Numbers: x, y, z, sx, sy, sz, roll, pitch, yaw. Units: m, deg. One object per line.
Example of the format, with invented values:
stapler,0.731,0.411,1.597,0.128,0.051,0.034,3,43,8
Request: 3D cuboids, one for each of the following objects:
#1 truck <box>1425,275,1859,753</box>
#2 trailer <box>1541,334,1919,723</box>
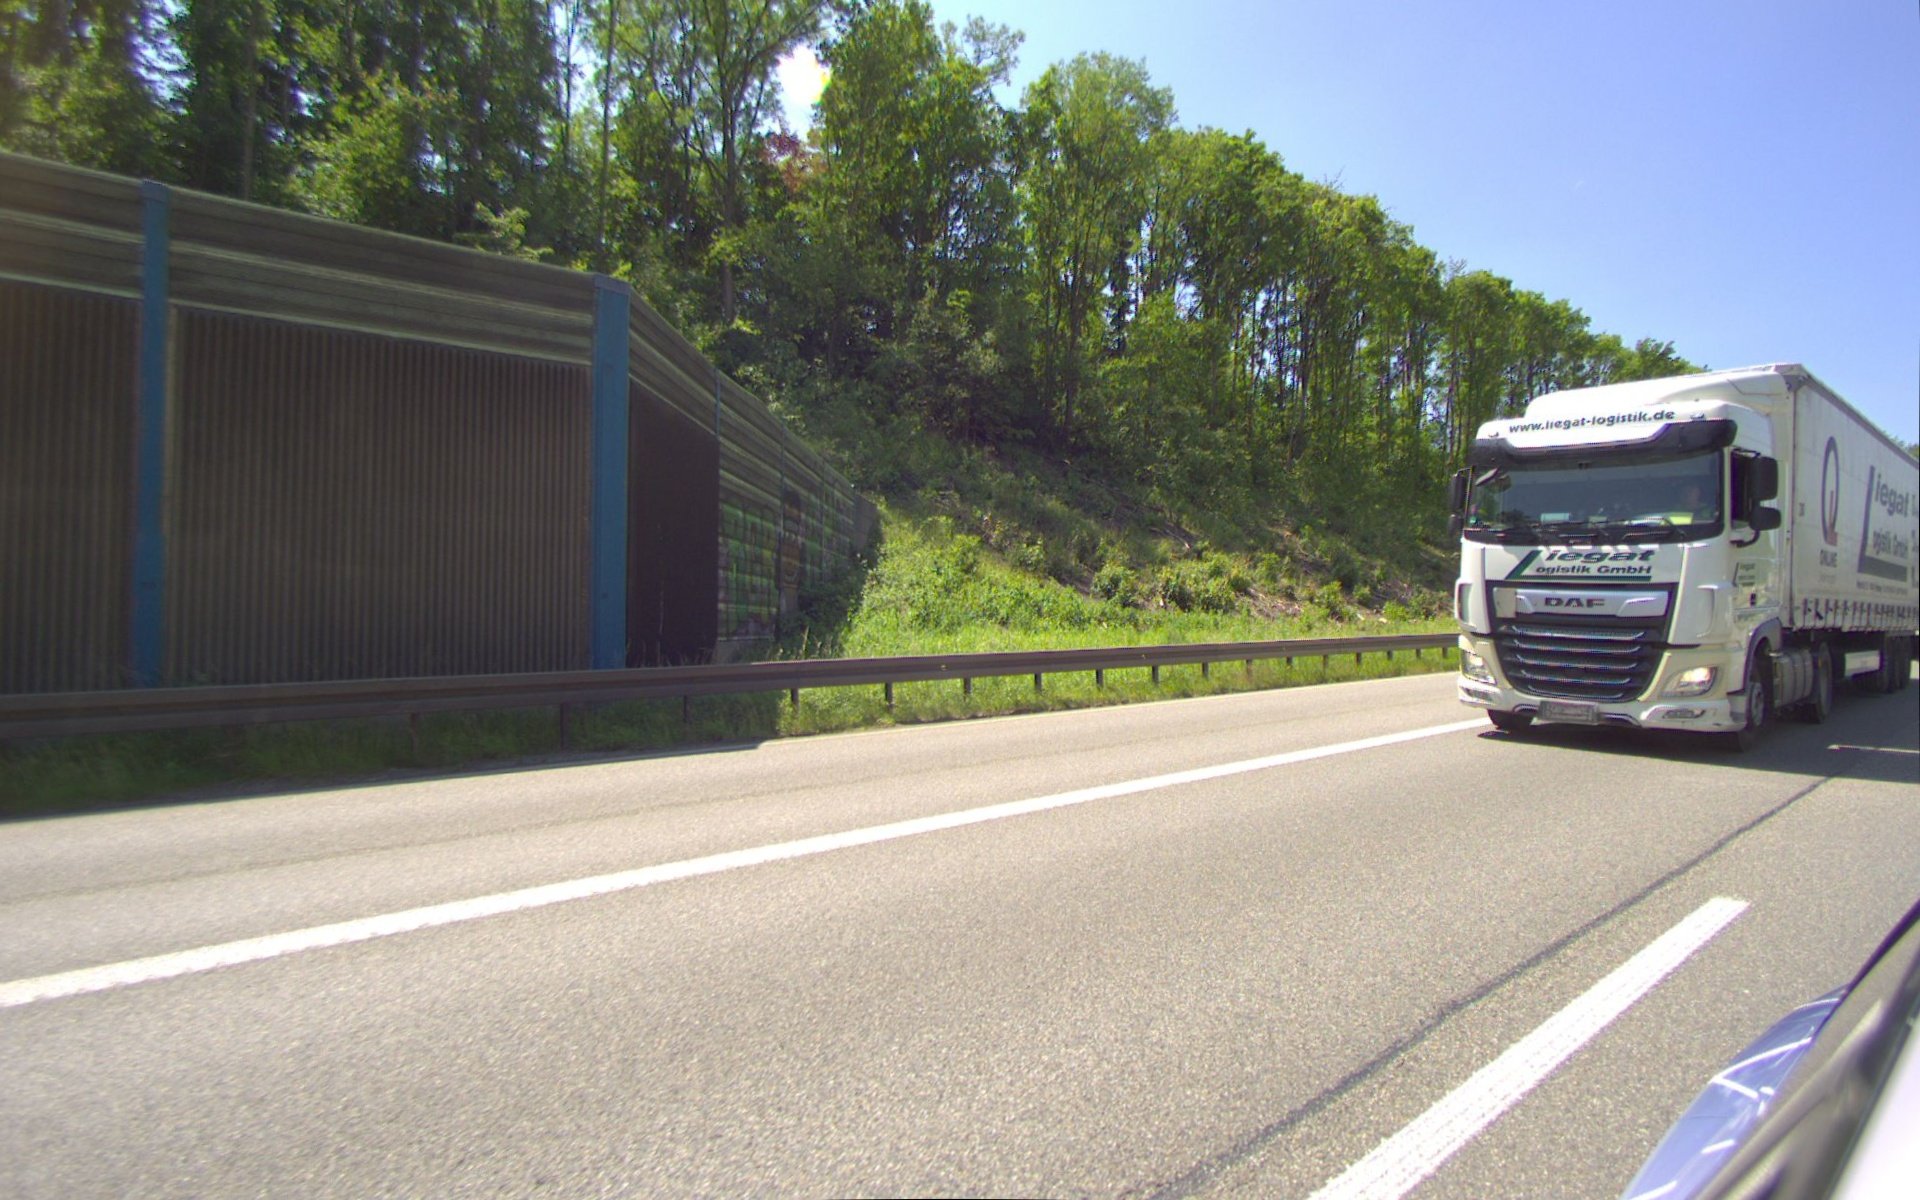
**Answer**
truck,8.234,-0.749,11.957,5.765,4.258,2.791,1,-1,-40
trailer,13.459,-0.718,16.370,13.007,4.258,2.791,1,-1,-40
